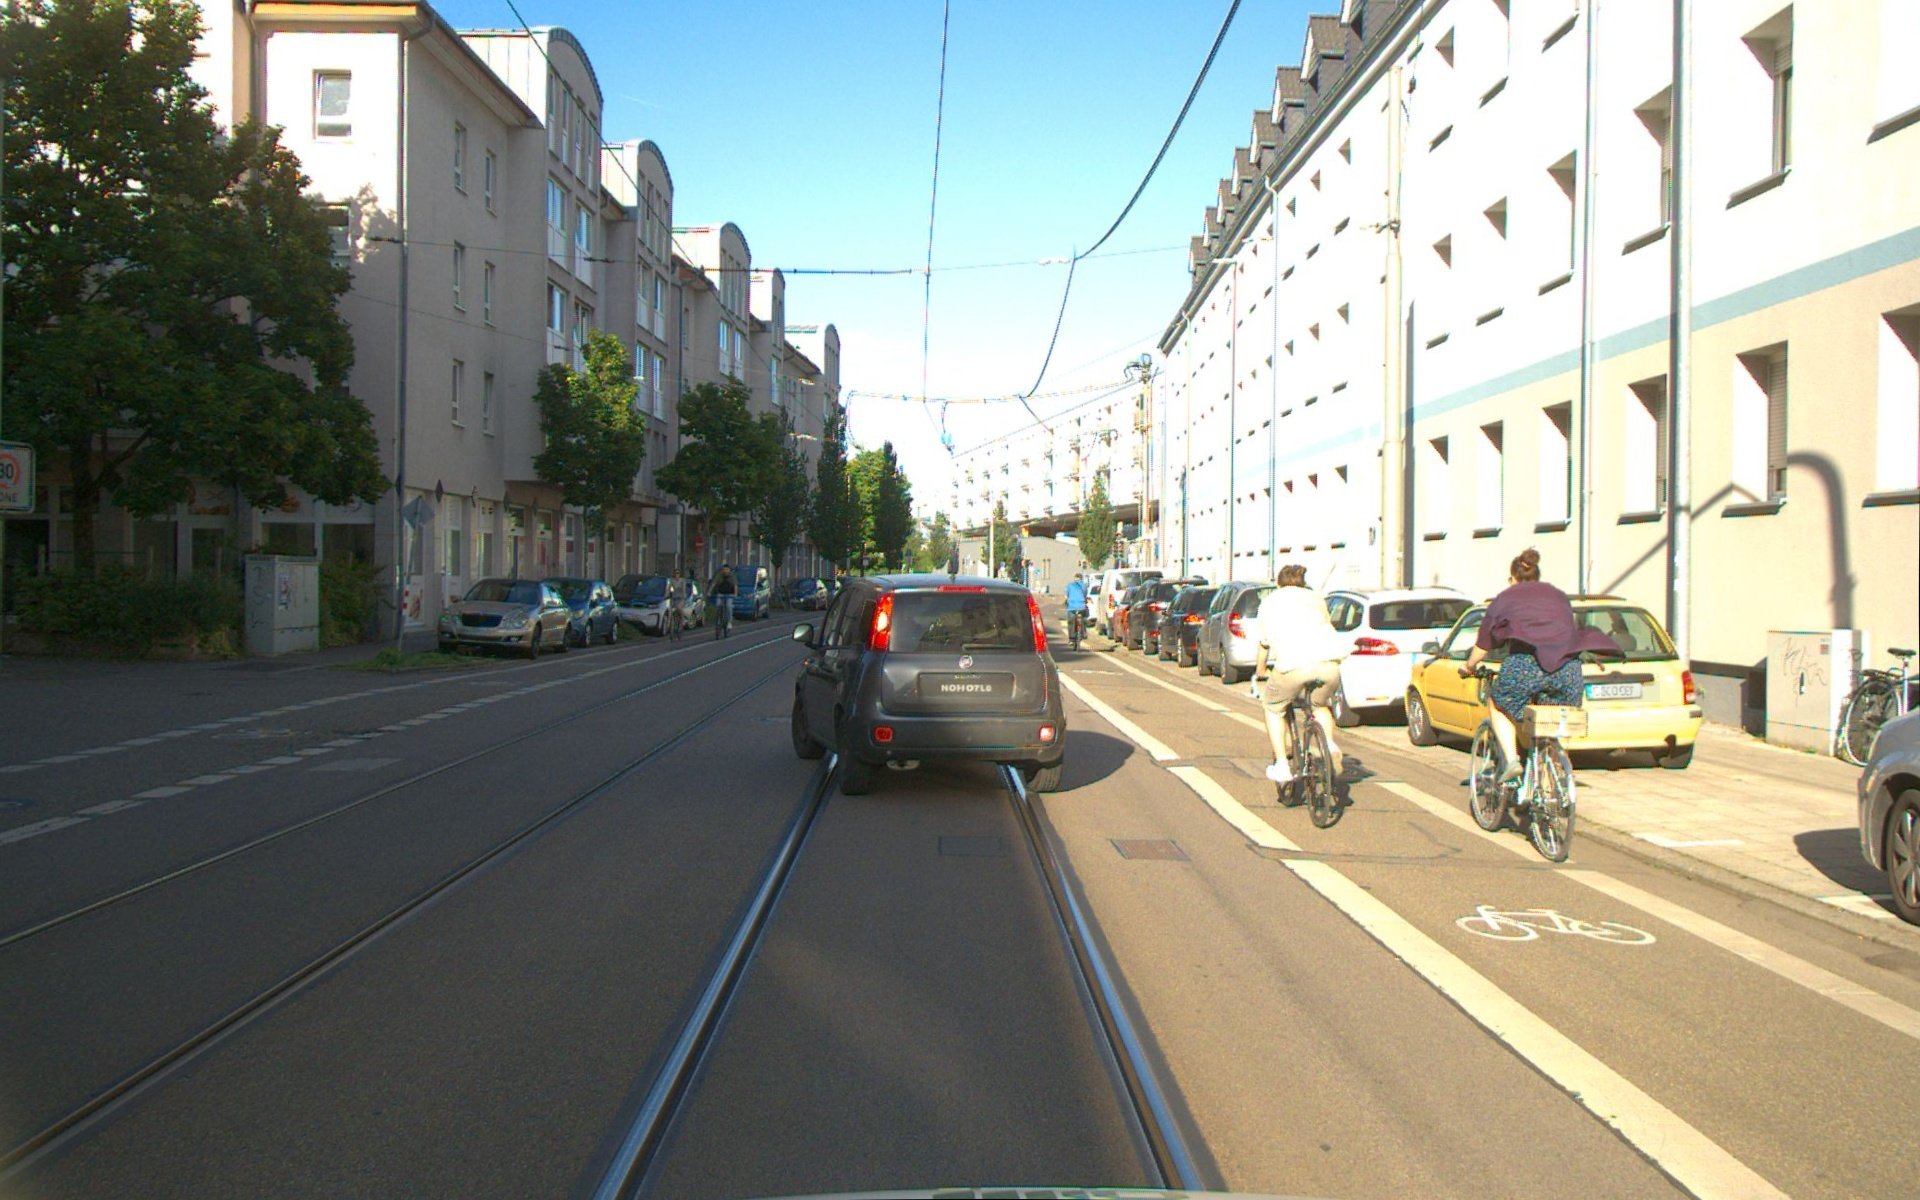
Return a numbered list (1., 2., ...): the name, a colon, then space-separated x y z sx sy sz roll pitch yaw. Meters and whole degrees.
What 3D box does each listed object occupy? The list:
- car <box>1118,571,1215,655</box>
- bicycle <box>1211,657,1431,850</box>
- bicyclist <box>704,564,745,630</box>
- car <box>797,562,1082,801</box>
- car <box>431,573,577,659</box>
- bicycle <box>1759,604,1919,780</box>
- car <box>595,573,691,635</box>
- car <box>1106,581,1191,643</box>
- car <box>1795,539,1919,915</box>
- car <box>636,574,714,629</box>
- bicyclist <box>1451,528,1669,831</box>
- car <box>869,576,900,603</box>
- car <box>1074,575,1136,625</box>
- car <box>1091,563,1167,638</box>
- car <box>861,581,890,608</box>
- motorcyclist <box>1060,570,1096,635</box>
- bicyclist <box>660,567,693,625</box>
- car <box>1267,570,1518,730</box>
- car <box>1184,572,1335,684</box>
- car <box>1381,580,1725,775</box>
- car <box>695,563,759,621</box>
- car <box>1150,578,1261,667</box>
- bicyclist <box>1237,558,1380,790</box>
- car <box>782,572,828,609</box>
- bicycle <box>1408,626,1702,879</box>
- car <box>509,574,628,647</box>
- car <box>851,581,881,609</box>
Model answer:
1. car: 4.599 0.246 37.281 1.626 1.698 3.904 -3 1 0
2. bicycle: 2.318 0.945 11.057 0.724 0.940 2.835 3 1 -2
3. bicyclist: -5.919 -0.082 41.623 0.864 1.588 0.868 -3 1 -1
4. car: -0.289 0.561 12.690 1.529 1.560 3.476 1 -1 -12
5. car: -8.708 0.256 31.909 1.709 1.468 3.999 3 1 -1
6. bicycle: 7.380 0.668 12.935 1.074 1.218 2.326 0 1 -2
7. car: -8.716 0.066 45.785 1.792 1.621 4.001 0 1 1
8. car: 4.826 0.279 42.787 1.759 1.509 3.779 0 1 0
9. car: 5.256 0.573 6.161 1.720 1.694 4.623 -1 1 -4
10. car: -8.761 0.027 51.129 1.792 1.621 3.999 0 1 -1
11. bicyclist: 3.535 0.444 9.829 0.915 1.705 0.969 0 1 -2
12. car: -4.762 -0.668 104.507 1.806 1.674 3.697 0 1 0
13. car: 5.091 -0.040 58.471 1.806 1.674 4.549 0 1 0
14. car: 4.752 -0.023 46.986 1.750 2.005 4.155 -1 1 0
15. car: -4.995 -0.321 98.375 1.559 1.567 3.191 0 1 0
16. motorcyclist: 2.643 0.043 37.105 0.713 1.430 1.020 0 1 -2
17. bicyclist: -7.117 -0.115 41.533 0.610 1.404 0.868 -4 1 -1
18. car: 4.853 0.473 19.193 1.645 1.598 4.509 -1 1 -1
19. car: 4.787 0.386 26.914 1.718 1.598 3.904 -3 1 0
20. car: 5.117 0.570 14.879 1.483 1.455 4.200 -1 1 -1
21. car: -8.374 -0.308 59.793 1.630 2.021 4.344 0 1 1
22. car: 4.716 0.391 32.220 1.559 1.564 4.008 -2 1 1
23. bicyclist: 2.329 0.472 11.145 0.713 1.487 1.020 0 1 -2
24. car: -7.034 -0.451 75.196 1.630 1.646 4.001 0 1 1
25. bicycle: 3.519 0.837 10.079 0.804 1.258 2.461 2 1 -2
26. car: -8.867 0.194 37.804 1.792 1.515 3.999 -2 1 -1
27. car: -5.352 -0.300 94.358 1.559 1.567 3.191 0 1 0
